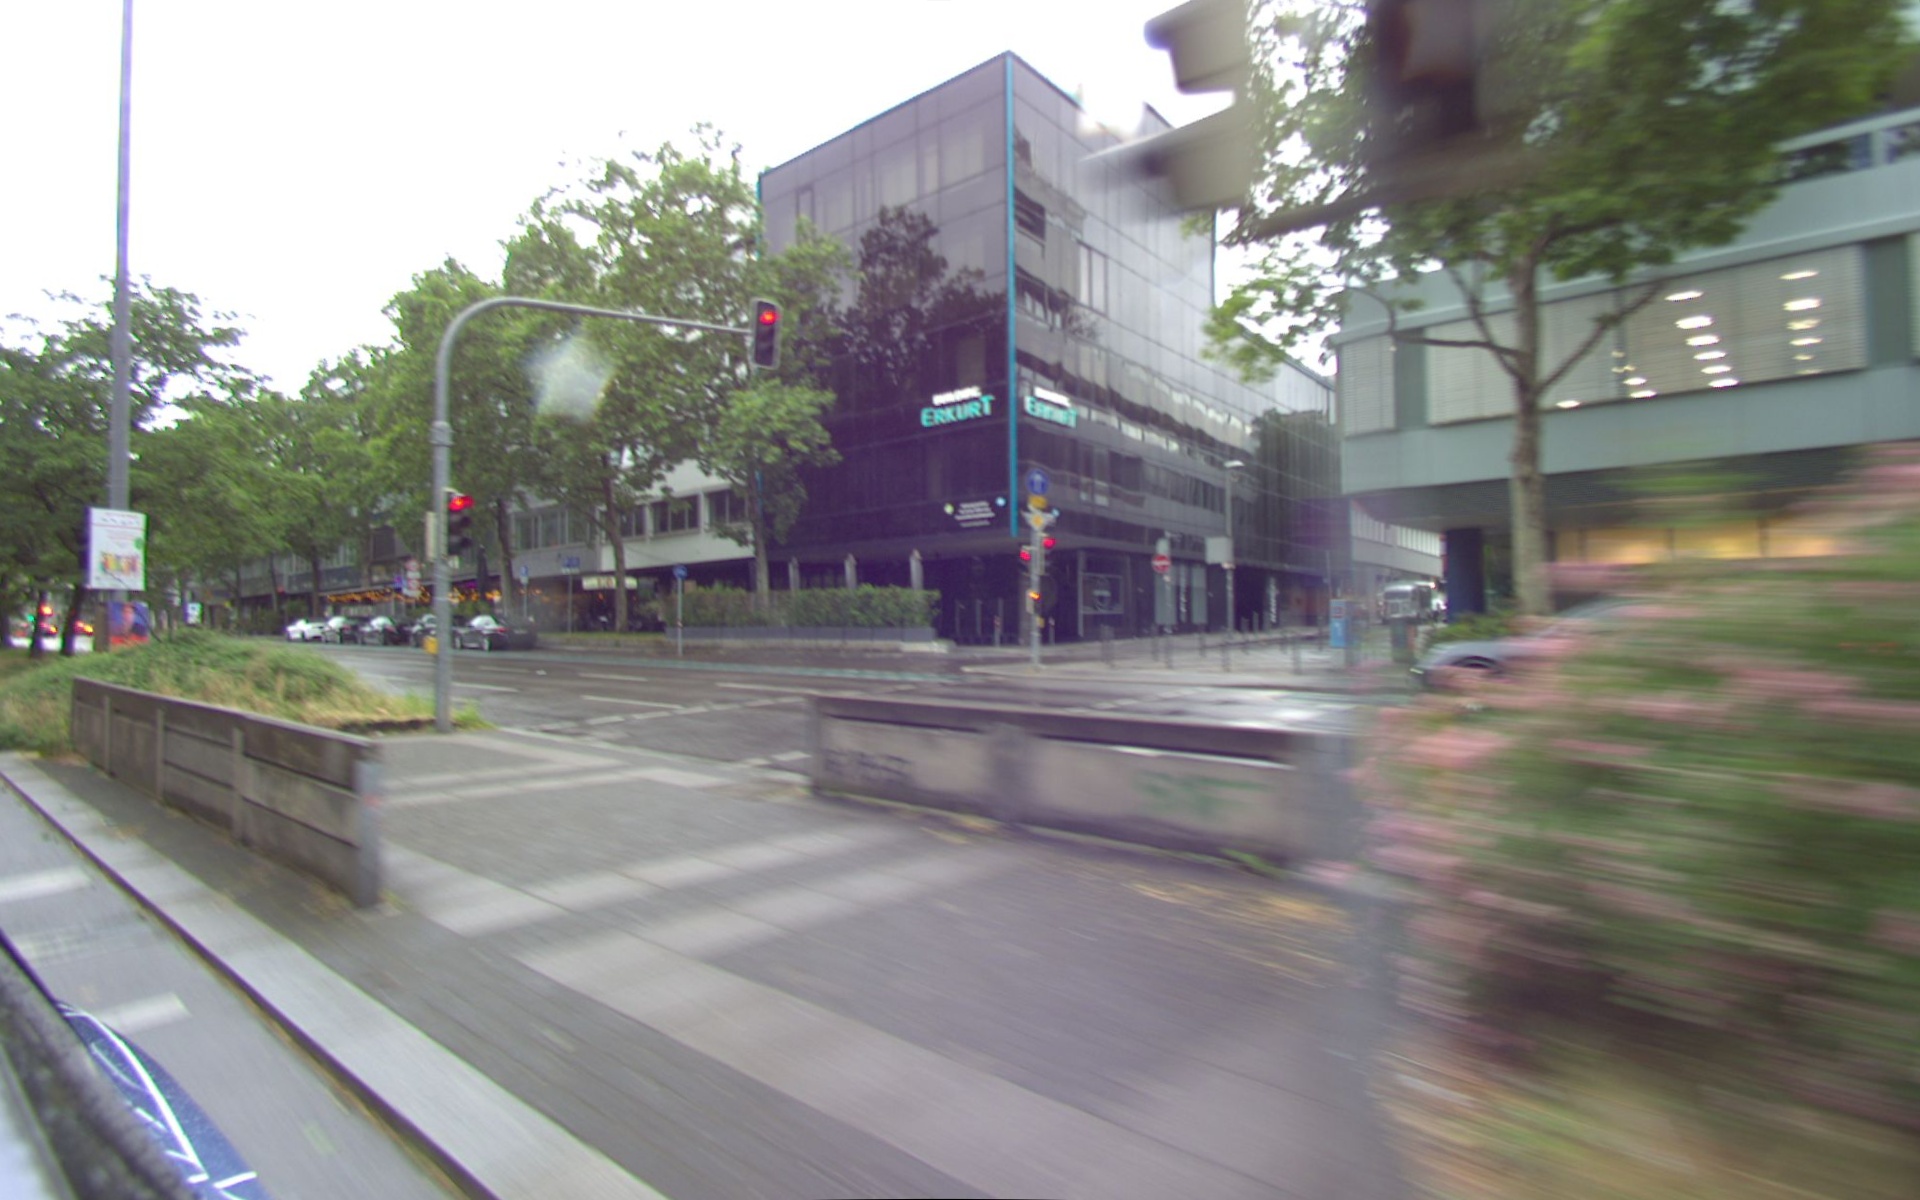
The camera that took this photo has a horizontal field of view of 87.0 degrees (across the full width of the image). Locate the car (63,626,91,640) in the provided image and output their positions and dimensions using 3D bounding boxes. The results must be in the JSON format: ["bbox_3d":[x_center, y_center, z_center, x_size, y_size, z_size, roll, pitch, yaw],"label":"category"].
[{"bbox_3d":[-92.667,3.486,106.235,3.736,1.335,1.743,0,1,41],"label":"car"}]

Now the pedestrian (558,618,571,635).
[{"bbox_3d":[-20.821,1.386,53.257,0.433,0.856,0.435,-1,1,38],"label":"pedestrian"}]

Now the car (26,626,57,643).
[{"bbox_3d":[-91.226,3.439,100.541,3.725,1.586,1.758,-1,1,40],"label":"car"}]

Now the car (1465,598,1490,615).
[{"bbox_3d":[37.911,0.466,74.093,1.285,1.141,2.650,-1,1,35],"label":"car"}]

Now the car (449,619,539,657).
[{"bbox_3d":[-19.180,1.514,41.568,4.538,1.396,1.850,0,1,44],"label":"car"}]

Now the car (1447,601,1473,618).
[{"bbox_3d":[34.537,0.638,69.863,1.253,1.141,2.586,-1,1,35],"label":"car"}]

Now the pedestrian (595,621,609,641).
[{"bbox_3d":[-17.826,1.535,50.353,0.461,1.000,0.455,-1,0,25],"label":"pedestrian"}]

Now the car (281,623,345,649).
[{"bbox_3d":[-36.410,1.987,56.908,4.390,1.336,1.857,0,1,41],"label":"car"}]

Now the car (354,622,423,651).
[{"bbox_3d":[-27.711,1.760,49.018,4.318,1.249,1.626,0,1,42],"label":"car"}]

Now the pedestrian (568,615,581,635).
[{"bbox_3d":[-19.886,1.298,52.246,0.423,1.024,0.459,-1,0,38],"label":"pedestrian"}]

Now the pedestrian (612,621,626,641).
[{"bbox_3d":[-16.769,1.526,49.795,0.451,0.970,0.454,-1,0,25],"label":"pedestrian"}]

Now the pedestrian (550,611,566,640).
[{"bbox_3d":[-23.541,1.491,59.301,0.623,1.660,0.599,-1,0,36],"label":"pedestrian"}]

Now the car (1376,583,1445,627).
[{"bbox_3d":[26.228,0.243,58.749,2.246,2.341,6.681,-1,1,37],"label":"car"}]

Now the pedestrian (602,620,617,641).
[{"bbox_3d":[-17.294,1.522,49.972,0.488,1.008,0.482,-1,0,25],"label":"pedestrian"}]

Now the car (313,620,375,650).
[{"bbox_3d":[-32.385,1.808,53.178,3.787,1.464,1.728,0,1,41],"label":"car"}]

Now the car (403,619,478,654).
[{"bbox_3d":[-23.145,1.582,45.068,3.399,1.433,1.851,-1,1,41],"label":"car"}]

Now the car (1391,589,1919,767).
[{"bbox_3d":[7.668,0.710,11.496,4.748,1.596,1.888,0,1,45],"label":"car"}]
